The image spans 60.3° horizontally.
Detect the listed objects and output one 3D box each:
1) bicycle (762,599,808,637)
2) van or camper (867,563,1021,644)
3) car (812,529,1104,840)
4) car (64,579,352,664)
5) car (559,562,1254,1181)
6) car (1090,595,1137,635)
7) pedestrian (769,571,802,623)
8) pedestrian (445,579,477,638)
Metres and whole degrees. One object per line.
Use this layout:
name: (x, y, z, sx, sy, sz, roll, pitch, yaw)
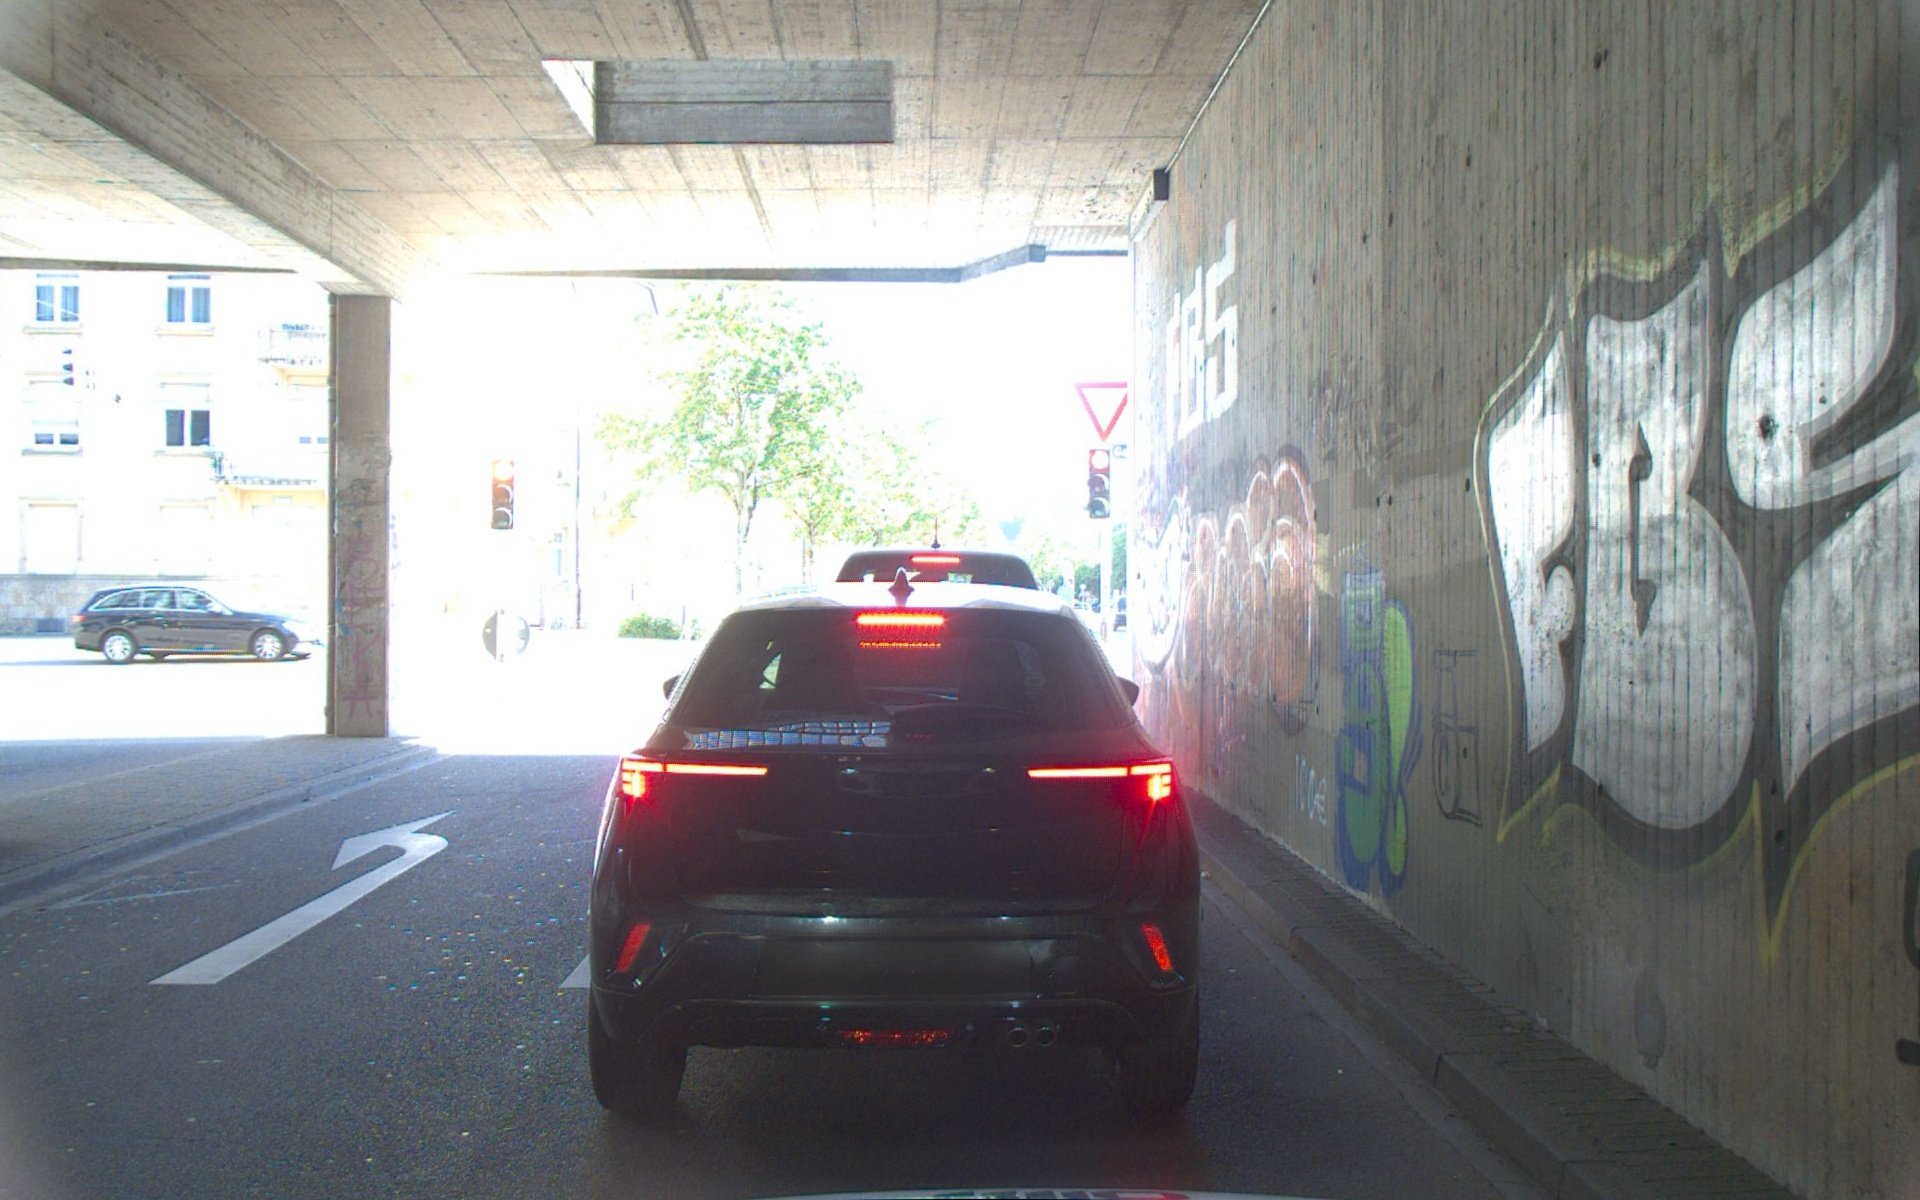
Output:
bicycle: (-5.452, 0.551, 51.639, 0.721, 1.150, 2.027, 0, 0, 16)
van or camper: (-0.381, 0.088, 43.336, 3.795, 2.049, 2.002, 0, 0, 7)
car: (-0.033, 0.502, 12.023, 1.749, 1.865, 3.960, 1, 0, -1)
car: (-14.369, 0.385, 31.771, 4.620, 1.561, 2.001, 0, 1, 3)
car: (-0.146, 0.674, 6.155, 1.718, 1.525, 4.000, 1, 0, -1)
car: (6.662, 0.615, 71.441, 1.951, 1.670, 4.596, 0, 0, 6)
pedestrian: (-5.447, -0.087, 51.614, 0.720, 1.612, 0.891, 1, -1, 15)
pedestrian: (-14.867, 0.259, 49.259, 0.609, 1.734, 0.724, 1, -1, 12)
